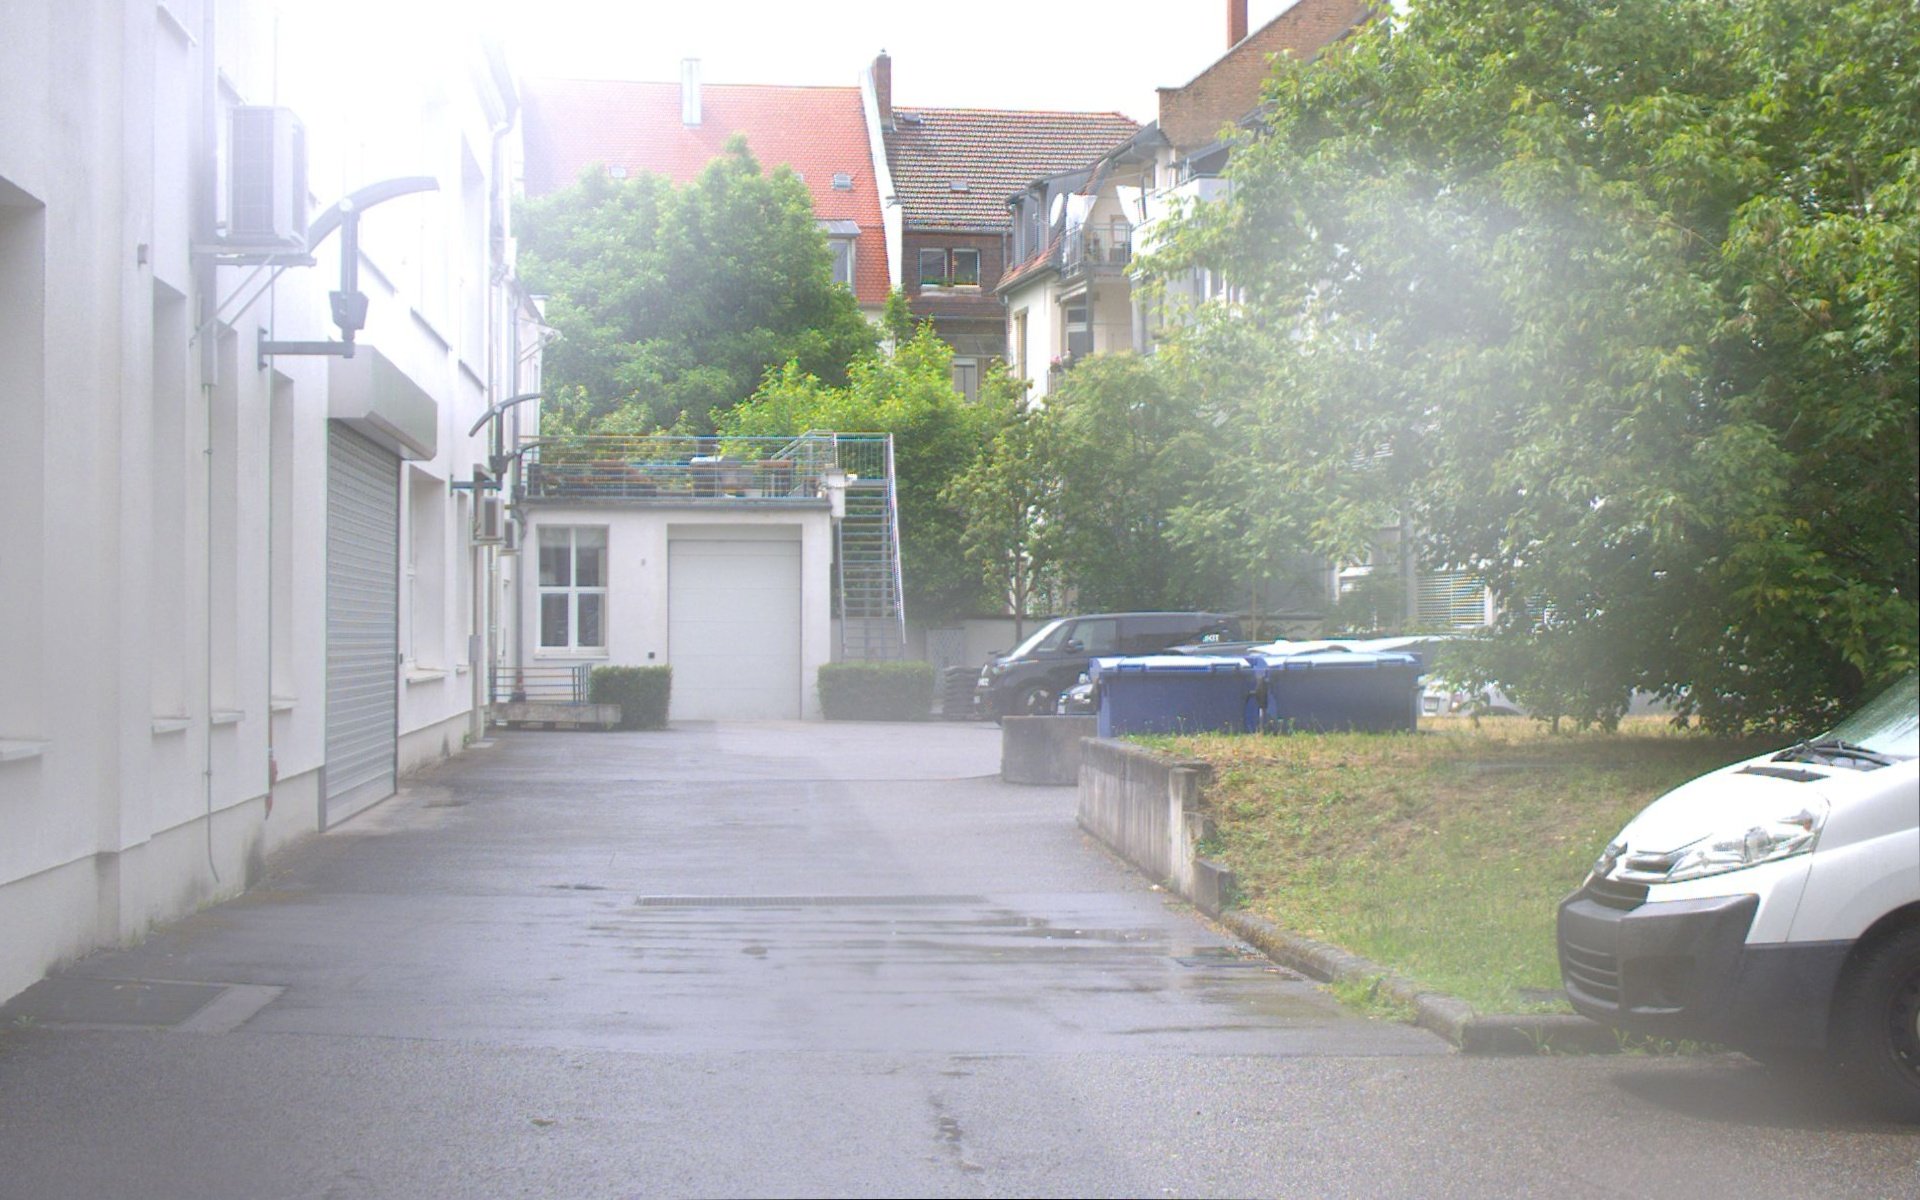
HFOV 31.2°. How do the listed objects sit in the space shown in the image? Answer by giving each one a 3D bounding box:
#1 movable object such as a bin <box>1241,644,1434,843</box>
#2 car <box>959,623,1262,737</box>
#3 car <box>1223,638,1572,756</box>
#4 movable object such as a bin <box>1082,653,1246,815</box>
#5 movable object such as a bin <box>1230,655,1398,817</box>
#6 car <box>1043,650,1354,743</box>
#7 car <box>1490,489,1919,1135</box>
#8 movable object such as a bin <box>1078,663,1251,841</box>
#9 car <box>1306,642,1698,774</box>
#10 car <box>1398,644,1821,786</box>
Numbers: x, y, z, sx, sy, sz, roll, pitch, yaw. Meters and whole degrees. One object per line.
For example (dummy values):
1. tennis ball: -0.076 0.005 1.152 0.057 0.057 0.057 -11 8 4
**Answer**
1. movable object such as a bin: 2.967 1.121 27.141 1.275 1.478 1.102 2 0 -5
2. car: 2.499 1.319 57.707 4.708 1.827 2.111 0 -1 -11
3. car: 5.598 1.231 44.218 4.096 1.450 1.833 0 -1 -8
4. movable object such as a bin: 1.704 1.116 28.869 1.229 1.313 1.056 0 0 -5
5. movable object such as a bin: 2.972 1.134 28.988 1.229 1.313 1.056 0 0 -5
6. car: 3.579 1.446 51.978 4.352 1.344 1.861 0 0 -11
7. car: 4.474 0.724 11.831 4.936 2.007 2.000 1 -1 -1
8. movable object such as a bin: 1.599 1.189 27.108 1.174 1.313 1.056 2 0 -5
9. car: 6.121 1.223 39.043 4.079 1.453 1.668 0 -2 -8
10. car: 6.749 1.184 35.954 3.986 1.350 1.791 -1 -1 -5
